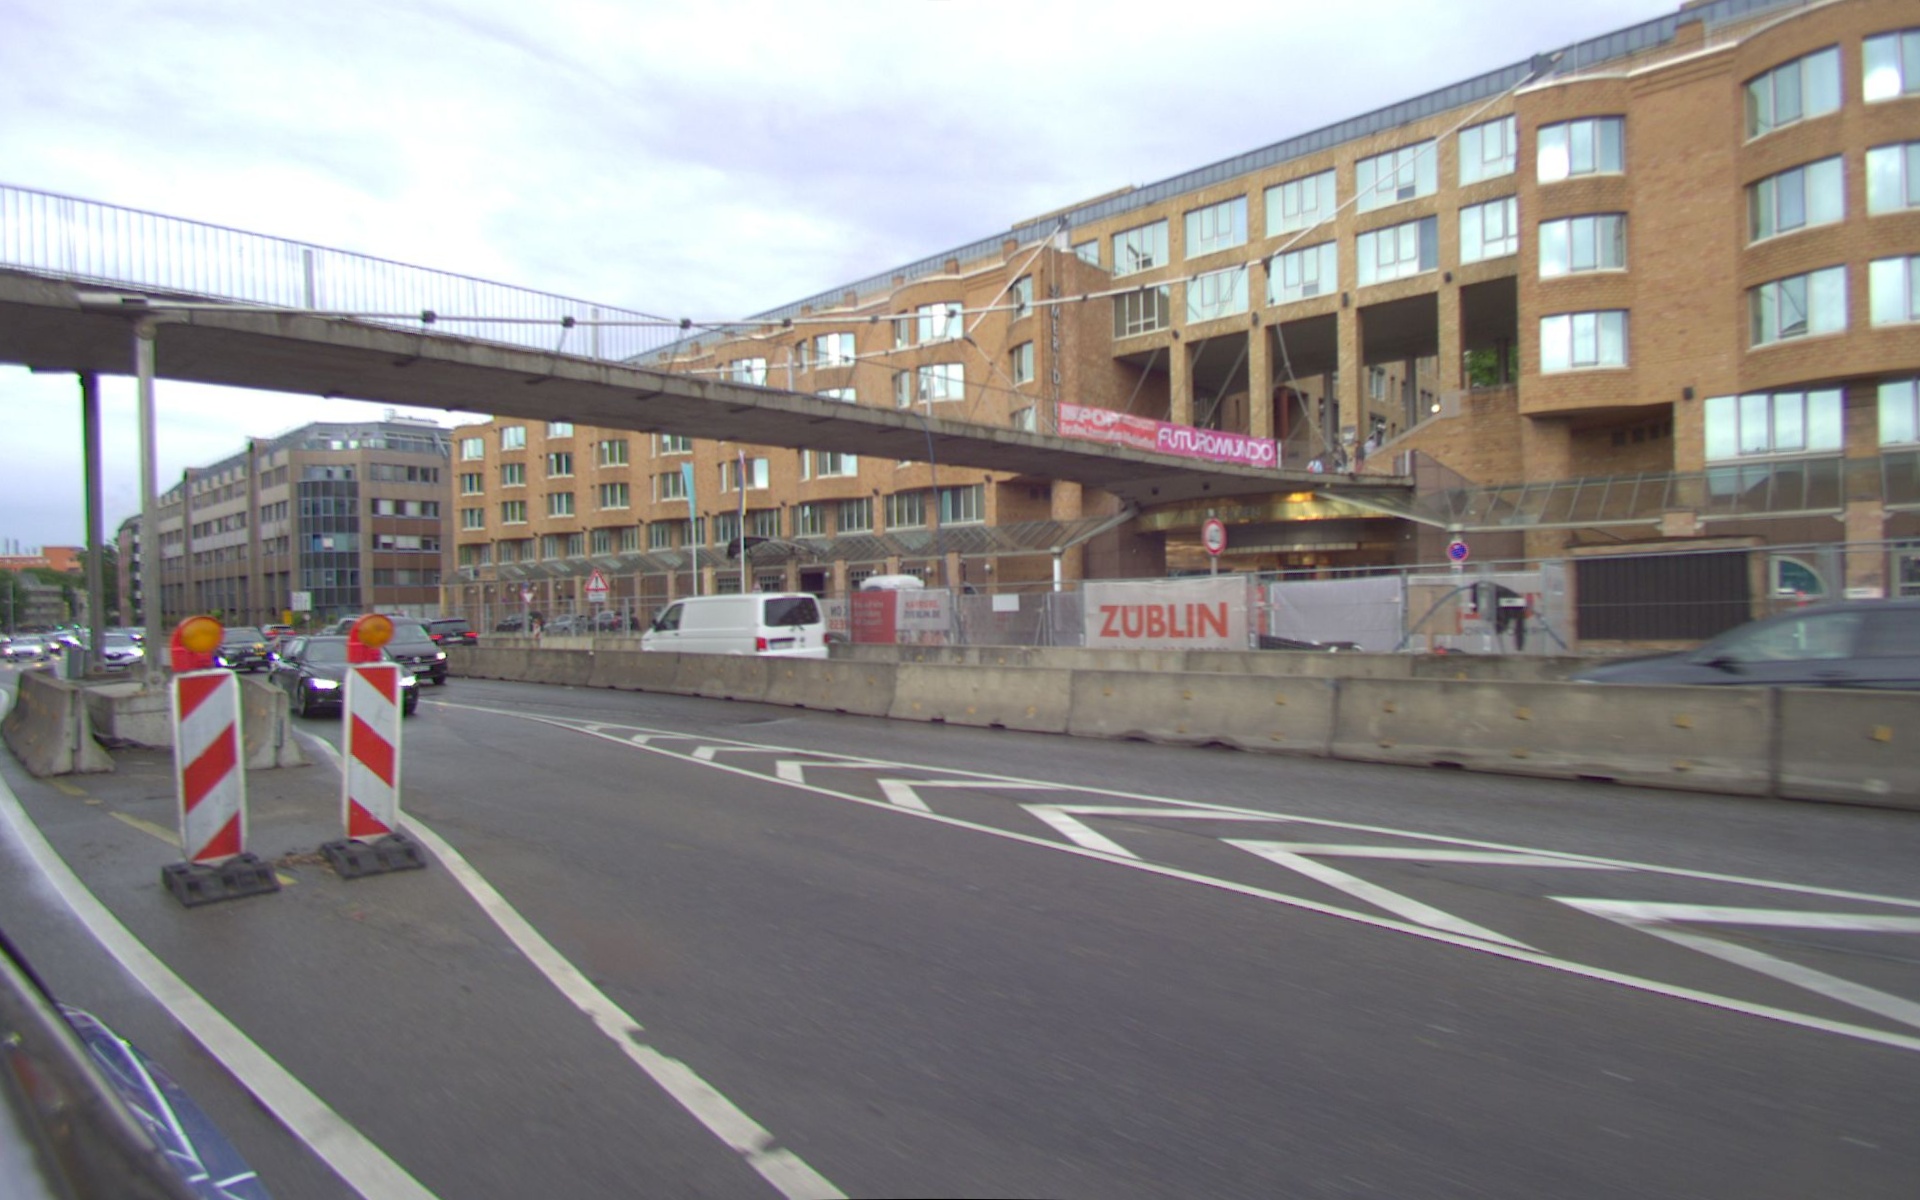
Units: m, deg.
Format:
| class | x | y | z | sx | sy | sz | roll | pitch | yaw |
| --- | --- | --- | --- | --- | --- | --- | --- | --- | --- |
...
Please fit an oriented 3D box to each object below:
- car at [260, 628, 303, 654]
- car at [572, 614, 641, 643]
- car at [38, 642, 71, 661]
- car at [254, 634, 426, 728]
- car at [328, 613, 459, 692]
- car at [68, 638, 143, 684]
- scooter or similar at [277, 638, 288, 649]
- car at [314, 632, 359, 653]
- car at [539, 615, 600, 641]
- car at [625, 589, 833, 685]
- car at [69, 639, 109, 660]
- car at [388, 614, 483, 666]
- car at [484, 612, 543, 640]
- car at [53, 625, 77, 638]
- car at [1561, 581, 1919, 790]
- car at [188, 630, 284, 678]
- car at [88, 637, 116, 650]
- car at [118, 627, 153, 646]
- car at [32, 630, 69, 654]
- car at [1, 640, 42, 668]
| class | x | y | z | sx | sy | sz | roll | pitch | yaw |
| --- | --- | --- | --- | --- | --- | --- | --- | --- | --- |
| car | -46.311 | 2.824 | 69.009 | 1.968 | 1.635 | 4.710 | -1 | -2 | -40 |
| car | -22.927 | 1.855 | 65.481 | 5.047 | 1.703 | 1.973 | -3 | -1 | 41 |
| car | -83.528 | 4.735 | 93.297 | 4.654 | 1.545 | 1.749 | -2 | -1 | 42 |
| car | -11.584 | 1.410 | 18.761 | 1.747 | 1.454 | 4.660 | -2 | -1 | -44 |
| car | -14.687 | 1.306 | 26.138 | 4.252 | 1.814 | 1.774 | -2 | 0 | 44 |
| car | -32.265 | 2.267 | 38.173 | 4.658 | 1.545 | 1.748 | -3 | -1 | 45 |
| scooter or similar | -64.261 | 4.131 | 96.043 | 1.041 | 1.071 | 0.445 | -2 | -1 | 31 |
| car | -47.709 | 3.282 | 77.417 | 4.362 | 1.538 | 1.741 | -3 | -2 | 42 |
| car | -26.845 | 1.918 | 69.497 | 4.537 | 1.606 | 1.973 | -3 | -1 | 41 |
| car | -5.148 | 0.817 | 22.005 | 5.302 | 1.835 | 1.785 | -3 | -2 | 44 |
| car | -67.456 | 3.835 | 78.375 | 4.654 | 1.545 | 1.749 | -2 | -1 | 42 |
| car | -18.136 | 1.385 | 34.912 | 1.785 | 1.635 | 3.905 | -1 | -3 | -45 |
| car | -32.713 | 1.887 | 74.061 | 5.010 | 1.900 | 1.973 | -3 | -1 | 40 |
| car | -139.966 | 4.944 | 158.252 | 4.867 | 1.797 | 1.869 | -2 | -1 | 36 |
| car | 7.834 | 0.684 | 8.893 | 1.785 | 1.635 | 4.036 | -1 | -2 | -45 |
| car | -25.862 | 1.895 | 36.103 | 4.353 | 1.545 | 1.750 | -2 | -1 | 40 |
| car | -110.720 | 5.616 | 130.550 | 4.224 | 1.470 | 1.974 | -2 | 0 | 39 |
| car | -86.197 | 3.819 | 105.764 | 4.866 | 1.899 | 1.973 | -2 | -1 | 40 |
| car | -63.821 | 2.953 | 71.060 | 1.746 | 1.545 | 4.663 | -2 | -1 | -40 |
| car | -57.639 | 3.307 | 62.195 | 1.746 | 1.545 | 4.661 | -2 | -1 | -42 |
